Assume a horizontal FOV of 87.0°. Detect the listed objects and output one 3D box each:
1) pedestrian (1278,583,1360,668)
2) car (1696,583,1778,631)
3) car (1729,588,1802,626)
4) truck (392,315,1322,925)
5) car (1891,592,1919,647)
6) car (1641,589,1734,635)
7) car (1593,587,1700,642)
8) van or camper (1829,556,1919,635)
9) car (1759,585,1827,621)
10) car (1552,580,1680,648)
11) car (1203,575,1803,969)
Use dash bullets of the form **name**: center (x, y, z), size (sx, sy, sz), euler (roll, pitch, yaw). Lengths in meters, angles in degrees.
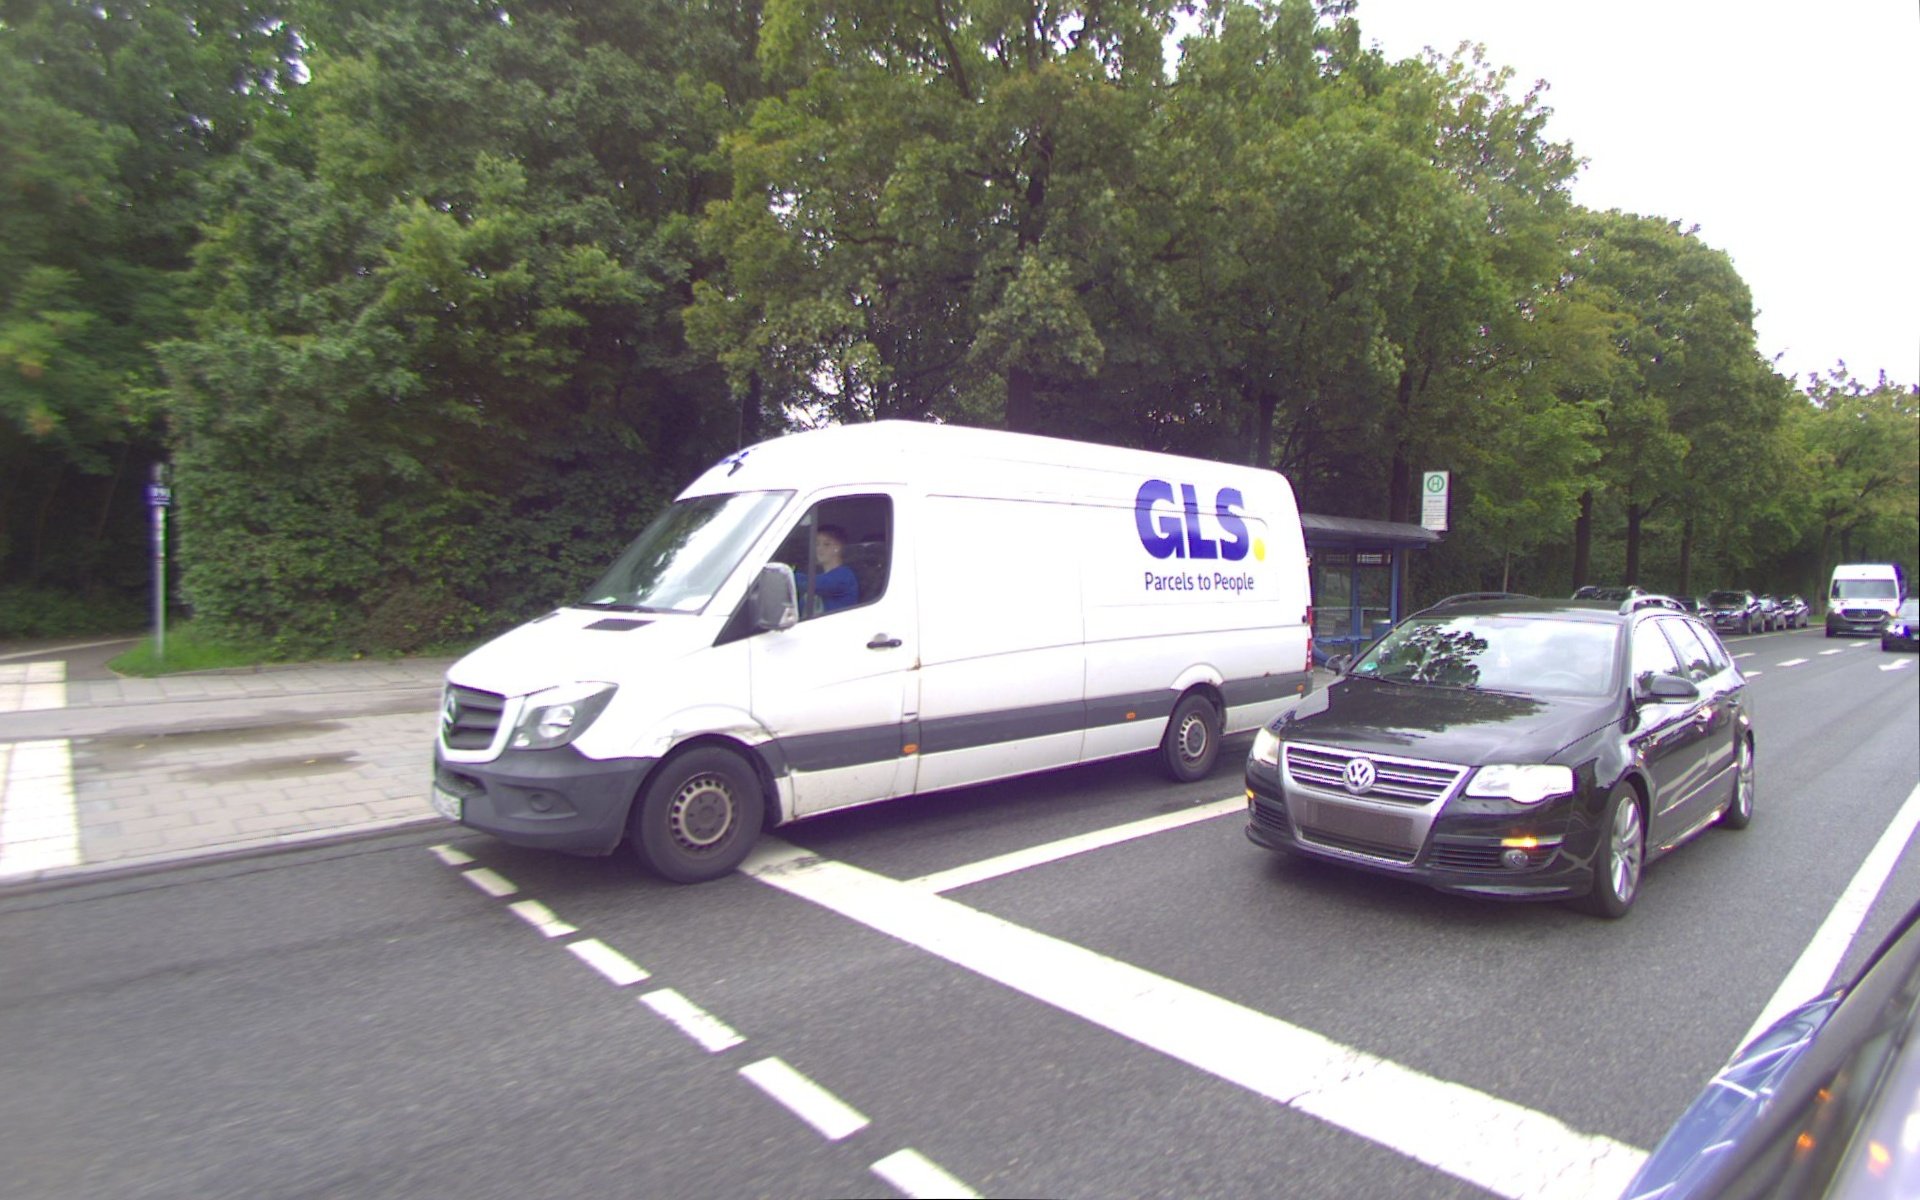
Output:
- **pedestrian**: center (6.107, 0.429, 17.233), size (0.601, 1.401, 1.155), euler (0, -1, -43)
- **car**: center (29.401, 0.223, 38.270), size (4.183, 1.670, 1.750), euler (-1, 2, -43)
- **car**: center (33.441, 0.254, 41.971), size (3.970, 1.485, 1.750), euler (-1, 2, -43)
- **truck**: center (-0.013, 0.040, 7.524), size (7.104, 2.636, 1.996), euler (-1, 1, -42)
- **car**: center (27.010, 0.489, 27.629), size (4.589, 1.447, 1.818), euler (0, 0, -41)
- **car**: center (25.040, 0.366, 34.788), size (4.183, 1.446, 1.750), euler (-1, 2, -43)
- **car**: center (21.098, 0.381, 31.029), size (4.322, 1.543, 1.750), euler (-1, 2, -43)
- **van or camper**: center (33.428, -0.214, 36.464), size (6.951, 2.593, 2.182), euler (0, 2, -41)
- **car**: center (37.205, 0.102, 45.164), size (4.183, 1.485, 1.750), euler (-1, 2, -43)
- **car**: center (17.821, 0.307, 27.407), size (4.322, 1.670, 1.882), euler (-1, 2, -43)
- **car**: center (3.511, 0.617, 6.048), size (4.592, 1.493, 1.750), euler (-1, 1, -43)
